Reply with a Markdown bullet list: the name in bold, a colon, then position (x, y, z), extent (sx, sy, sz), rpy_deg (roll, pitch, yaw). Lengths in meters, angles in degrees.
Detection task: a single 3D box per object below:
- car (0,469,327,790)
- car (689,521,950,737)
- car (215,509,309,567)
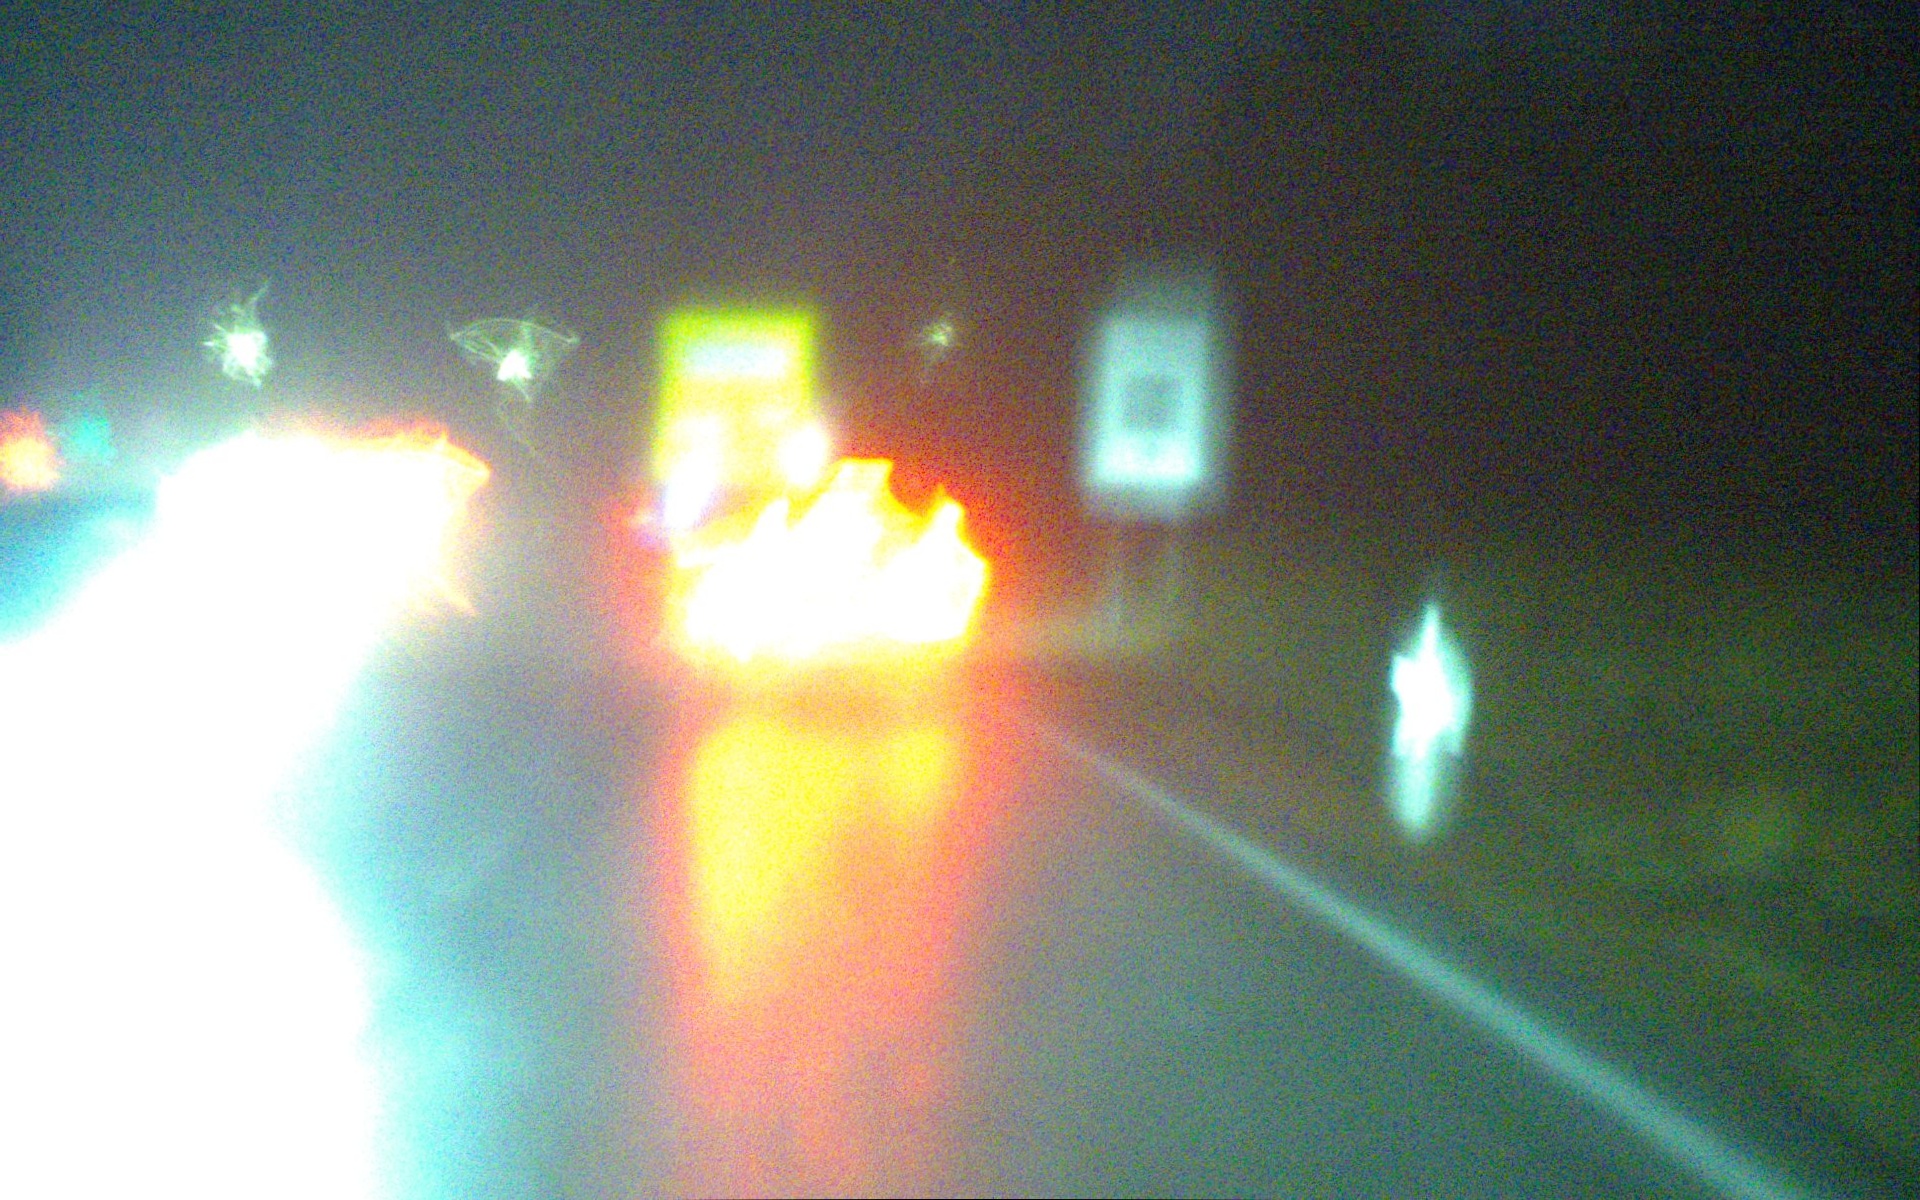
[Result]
- **car**: position (-5.255, 0.126, 21.038), extent (1.993, 1.702, 4.985), rpy_deg (-2, 1, -2)
- **car**: position (-1.225, 0.169, 28.932), extent (1.993, 1.622, 4.985), rpy_deg (0, 2, -3)
- **car**: position (-18.482, -1.645, 90.877), extent (1.771, 1.478, 4.382), rpy_deg (0, 2, -20)
